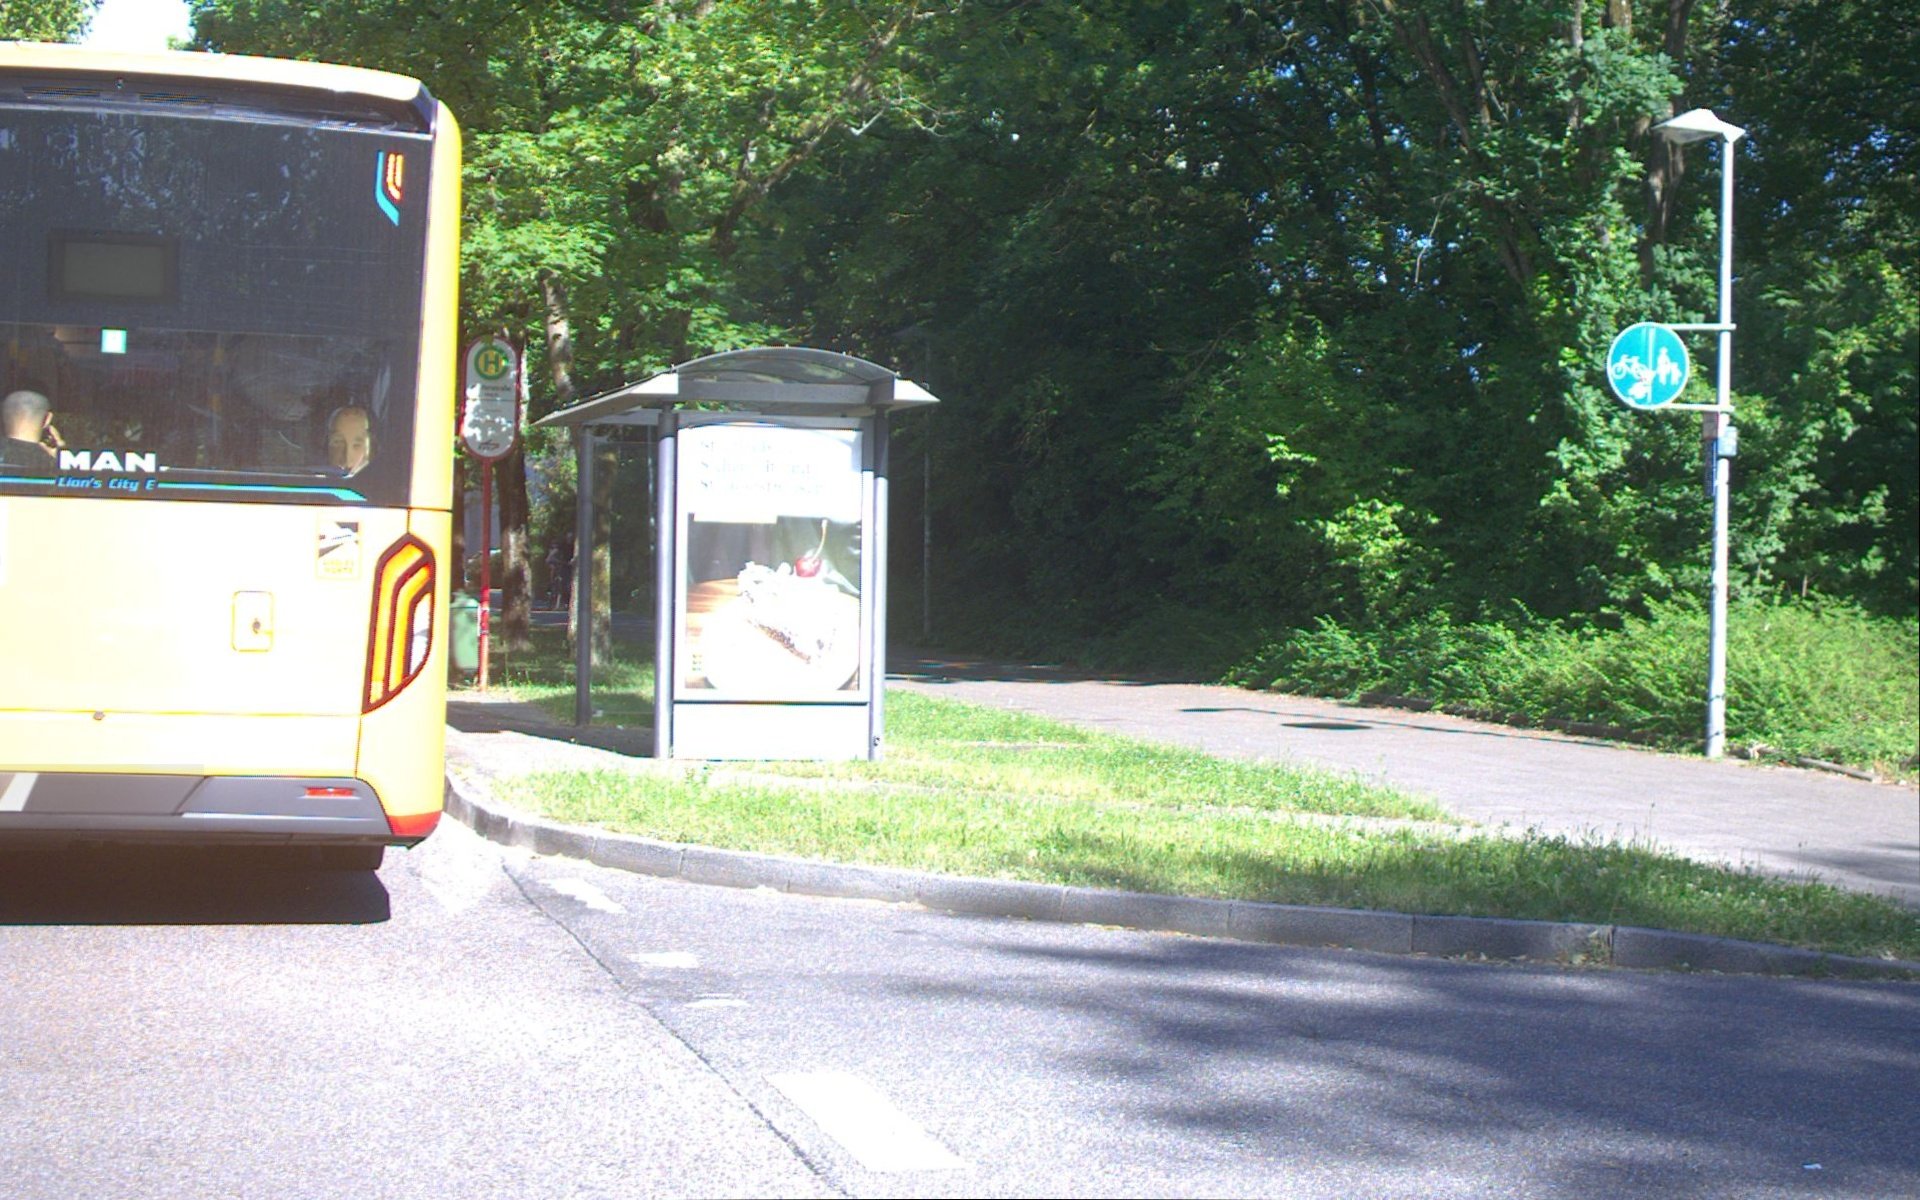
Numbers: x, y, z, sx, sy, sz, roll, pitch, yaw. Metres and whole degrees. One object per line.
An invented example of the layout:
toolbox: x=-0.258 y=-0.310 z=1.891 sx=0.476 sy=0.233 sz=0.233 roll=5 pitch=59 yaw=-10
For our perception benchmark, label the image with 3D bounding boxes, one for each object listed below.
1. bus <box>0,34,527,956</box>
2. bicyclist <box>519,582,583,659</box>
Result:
bus: x=-4.320 y=-0.466 z=18.201 sx=2.899 sy=3.255 sz=12.221 roll=1 pitch=1 yaw=-12
bicyclist: x=-9.071 y=0.448 z=76.194 sx=1.179 sy=1.655 sz=1.029 roll=1 pitch=1 yaw=-20
